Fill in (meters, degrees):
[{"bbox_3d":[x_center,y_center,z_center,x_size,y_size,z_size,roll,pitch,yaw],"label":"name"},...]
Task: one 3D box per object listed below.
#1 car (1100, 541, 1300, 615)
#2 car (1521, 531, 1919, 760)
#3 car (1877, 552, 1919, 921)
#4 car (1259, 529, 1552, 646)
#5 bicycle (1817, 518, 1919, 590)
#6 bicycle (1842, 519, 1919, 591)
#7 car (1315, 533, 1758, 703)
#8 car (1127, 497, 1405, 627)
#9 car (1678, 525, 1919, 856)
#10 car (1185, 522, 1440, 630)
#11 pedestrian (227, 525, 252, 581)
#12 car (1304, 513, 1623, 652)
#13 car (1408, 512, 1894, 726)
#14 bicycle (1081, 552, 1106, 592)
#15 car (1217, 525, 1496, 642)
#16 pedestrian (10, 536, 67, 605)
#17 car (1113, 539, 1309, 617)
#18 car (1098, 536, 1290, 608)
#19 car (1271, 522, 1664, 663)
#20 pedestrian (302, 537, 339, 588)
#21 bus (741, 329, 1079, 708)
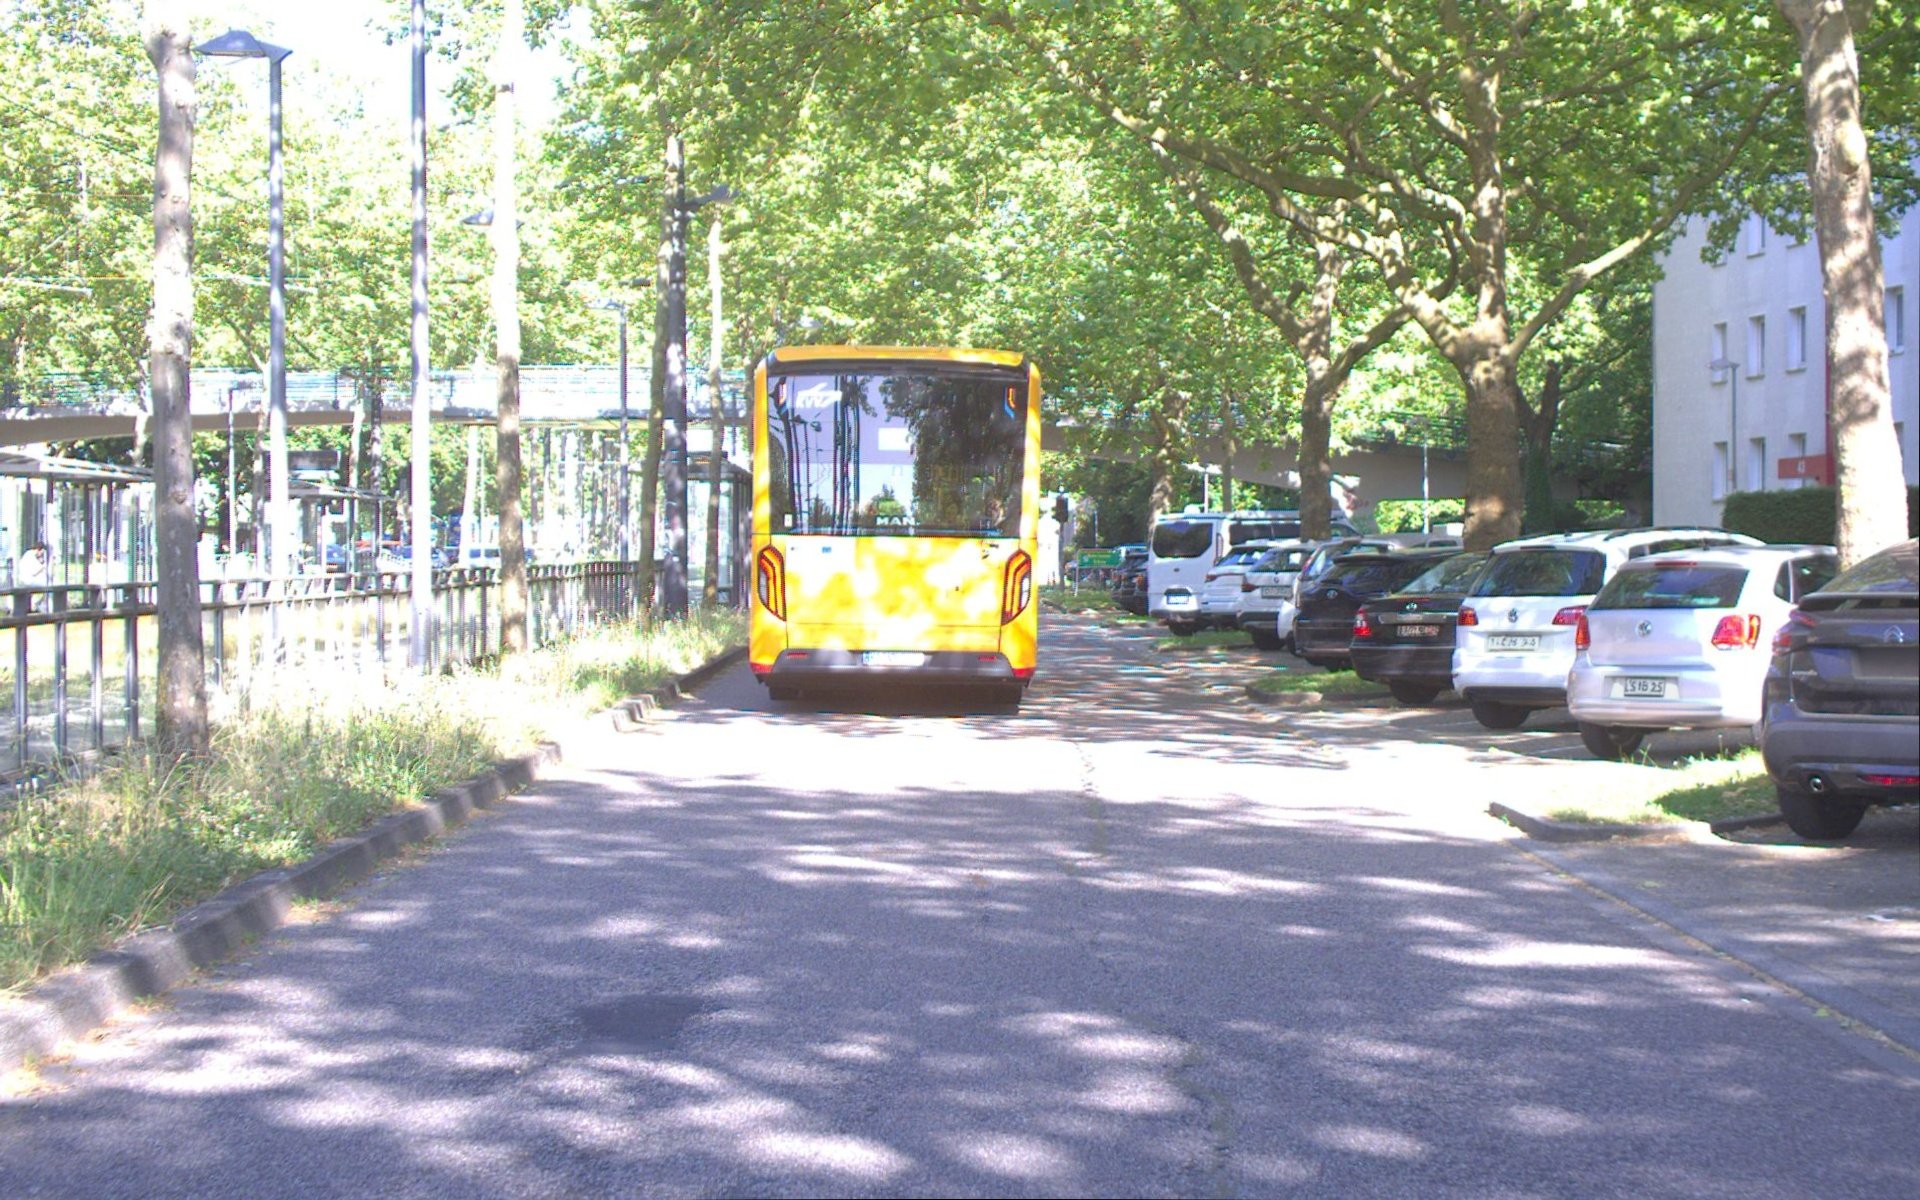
[{"bbox_3d":[5.228,-0.484,74.527,4.244,1.456,1.799,-3,1,-40],"label":"car"},{"bbox_3d":[5.977,0.261,24.378,3.989,1.439,1.799,-2,2,-41],"label":"car"},{"bbox_3d":[5.649,0.481,14.272,3.878,1.441,1.799,-2,2,-44],"label":"car"},{"bbox_3d":[6.007,-0.177,46.104,1.831,1.414,3.990,-1,1,45],"label":"car"},{"bbox_3d":[15.563,-0.782,58.503,1.794,1.125,0.500,-3,1,-5],"label":"bicycle"},{"bbox_3d":[15.703,-0.762,57.404,1.794,1.125,0.500,-3,1,-5],"label":"bicycle"},{"bbox_3d":[5.503,0.127,32.417,1.799,1.418,4.578,0,2,45],"label":"car"},{"bbox_3d":[5.240,-0.662,58.520,4.577,2.045,2.017,-3,1,-40],"label":"car"},{"bbox_3d":[5.564,0.362,17.552,1.799,1.505,4.167,0,2,43],"label":"car"},{"bbox_3d":[5.703,-0.398,55.391,4.047,1.575,1.832,-3,1,-43],"label":"car"},{"bbox_3d":[-21.568,-1.412,102.930,0.648,1.655,0.650,0,1,-5],"label":"pedestrian"},{"bbox_3d":[6.324,-0.233,42.957,3.989,1.584,1.799,-3,1,-43],"label":"car"},{"bbox_3d":[5.686,0.110,28.075,3.989,1.570,1.799,-2,2,-41],"label":"car"},{"bbox_3d":[4.153,-0.865,106.934,0.590,1.179,1.800,-3,2,-1],"label":"bicycle"},{"bbox_3d":[5.709,-0.249,49.130,1.798,1.505,4.202,-1,1,42],"label":"car"},{"bbox_3d":[-15.811,-0.509,59.007,0.766,1.179,0.763,1,1,0],"label":"pedestrian"},{"bbox_3d":[5.250,-0.459,71.581,3.989,1.463,1.782,-3,1,-43],"label":"car"},{"bbox_3d":[5.319,-0.643,77.830,4.244,1.456,1.799,-3,1,-40],"label":"car"},{"bbox_3d":[5.828,-0.101,39.204,4.396,1.423,1.951,-3,1,-39],"label":"car"},{"bbox_3d":[-15.696,-0.920,84.344,0.778,1.233,0.722,1,1,-2],"label":"pedestrian"},{"bbox_3d":[-0.579,-0.790,35.808,2.899,3.255,12.219,0,1,-1],"label":"bus"}]
